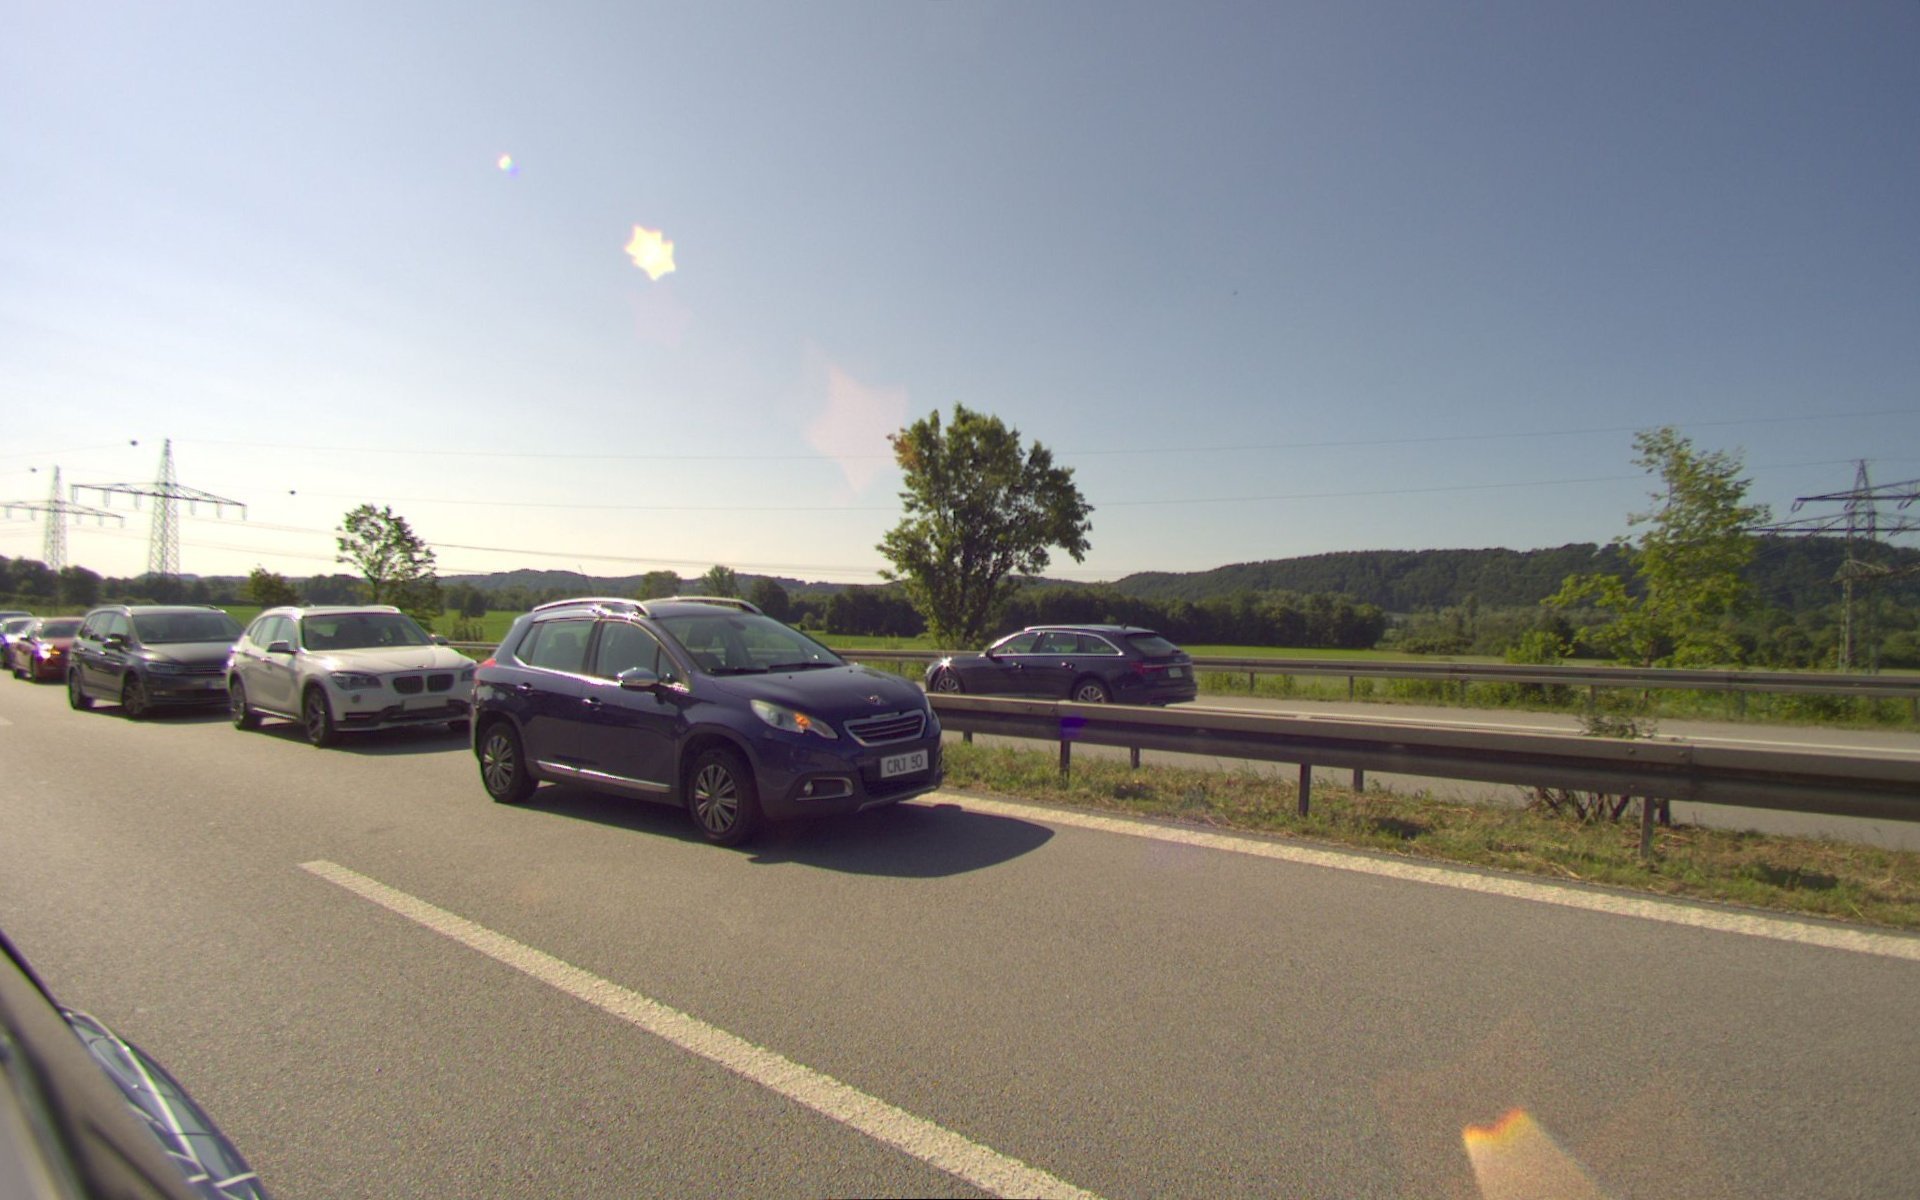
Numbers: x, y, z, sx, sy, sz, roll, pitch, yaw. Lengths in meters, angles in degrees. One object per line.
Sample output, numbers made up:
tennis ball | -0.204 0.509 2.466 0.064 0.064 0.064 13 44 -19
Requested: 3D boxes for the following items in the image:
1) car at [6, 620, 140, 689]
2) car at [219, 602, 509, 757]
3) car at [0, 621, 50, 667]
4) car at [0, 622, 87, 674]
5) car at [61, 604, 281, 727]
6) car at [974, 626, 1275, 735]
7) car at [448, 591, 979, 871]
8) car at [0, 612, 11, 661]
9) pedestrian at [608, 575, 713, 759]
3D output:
car | -20.785 1.211 23.662 4.115 1.470 1.796 -1 -2 41
car | -7.409 0.858 12.431 4.160 1.586 1.809 -1 -1 40
car | -31.794 1.426 33.548 3.997 1.466 1.870 -1 -2 40
car | -27.186 1.360 29.570 3.996 1.409 1.871 -1 -2 39
car | -12.204 0.914 15.572 4.113 1.628 1.797 -1 -1 39
car | 2.461 1.151 15.821 4.403 1.436 1.695 -1 -1 40
car | -1.950 0.747 7.474 3.941 1.546 1.672 -1 0 37
car | -37.165 1.365 37.826 4.195 1.801 1.878 -1 -2 39
pedestrian | -3.035 0.658 10.254 0.813 1.764 0.664 -1 -2 39
